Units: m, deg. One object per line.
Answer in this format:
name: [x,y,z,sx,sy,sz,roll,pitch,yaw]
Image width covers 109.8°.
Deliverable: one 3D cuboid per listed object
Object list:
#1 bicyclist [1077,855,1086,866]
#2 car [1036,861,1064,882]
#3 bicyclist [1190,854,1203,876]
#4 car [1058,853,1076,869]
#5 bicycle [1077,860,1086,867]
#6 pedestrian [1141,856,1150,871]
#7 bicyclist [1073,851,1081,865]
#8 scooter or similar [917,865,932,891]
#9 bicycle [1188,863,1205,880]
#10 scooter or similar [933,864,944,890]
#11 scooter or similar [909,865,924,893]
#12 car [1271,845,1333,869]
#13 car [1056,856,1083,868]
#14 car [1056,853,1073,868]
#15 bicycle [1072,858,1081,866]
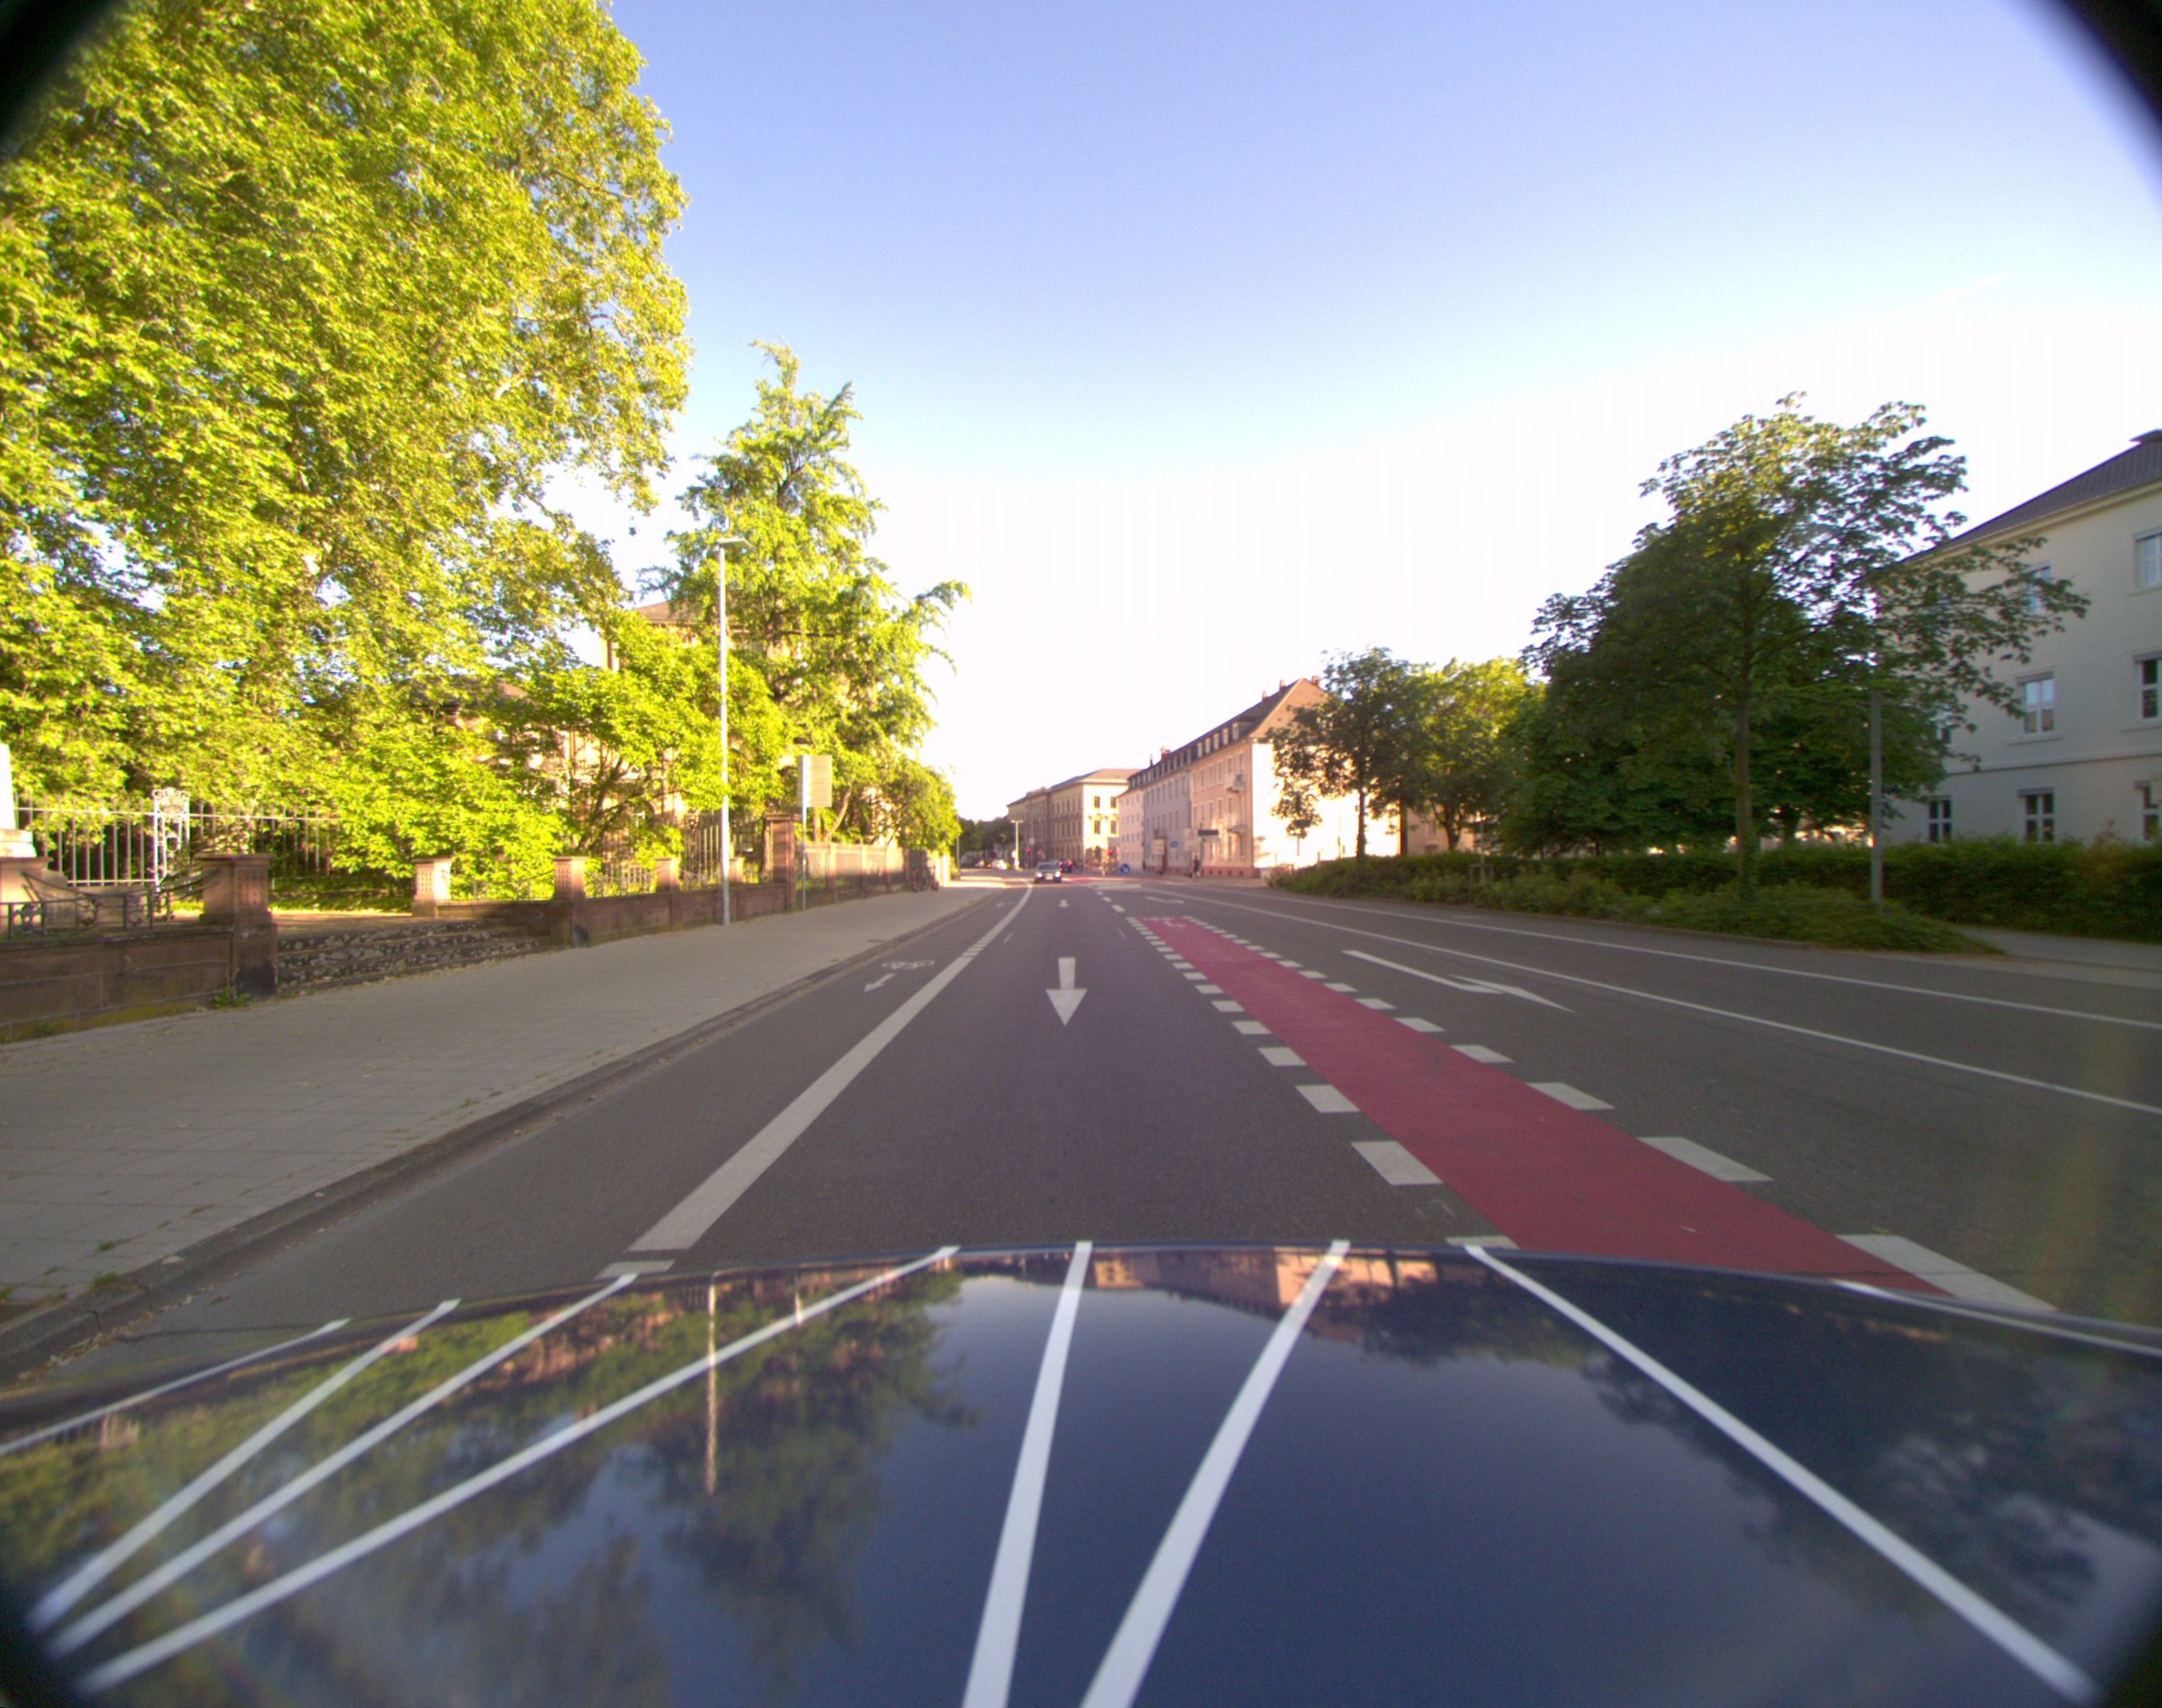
bicyclist: [0.092,0.900,102.081,1.026,1.481,0.870,0,0,-9]
car: [-2.187,1.170,52.677,1.710,1.397,4.262,0,0,-6]
bicyclist: [8.294,0.765,54.552,0.691,1.553,0.838,1,0,-3]
car: [-1.841,0.839,96.216,1.999,2.002,3.998,0,0,-5]
bicycle: [0.077,1.315,102.122,0.663,0.907,2.861,0,0,-9]
pedestrian: [8.332,1.176,97.981,0.949,1.894,1.062,-2,1,-7]
bicyclist: [-0.628,0.598,109.524,0.956,2.002,1.307,0,0,-9]
scooter or similar: [-7.561,1.151,36.706,0.576,1.177,1.487,0,0,-7]
bicycle: [8.287,1.230,54.581,0.697,1.152,2.245,1,0,-3]
scooter or similar: [-7.088,1.141,37.787,0.517,1.233,1.521,0,0,-11]
scooter or similar: [-7.548,1.136,34.853,0.577,1.246,1.486,0,0,-15]
car: [16.694,0.213,57.537,4.000,1.652,1.998,-2,1,-9]
car: [-1.910,1.352,128.135,4.513,2.093,2.000,0,0,-1]
car: [-2.223,0.891,102.183,1.999,2.002,3.998,0,0,-5]
bicycle: [-0.653,1.171,109.586,0.956,1.216,2.777,0,0,-9]
